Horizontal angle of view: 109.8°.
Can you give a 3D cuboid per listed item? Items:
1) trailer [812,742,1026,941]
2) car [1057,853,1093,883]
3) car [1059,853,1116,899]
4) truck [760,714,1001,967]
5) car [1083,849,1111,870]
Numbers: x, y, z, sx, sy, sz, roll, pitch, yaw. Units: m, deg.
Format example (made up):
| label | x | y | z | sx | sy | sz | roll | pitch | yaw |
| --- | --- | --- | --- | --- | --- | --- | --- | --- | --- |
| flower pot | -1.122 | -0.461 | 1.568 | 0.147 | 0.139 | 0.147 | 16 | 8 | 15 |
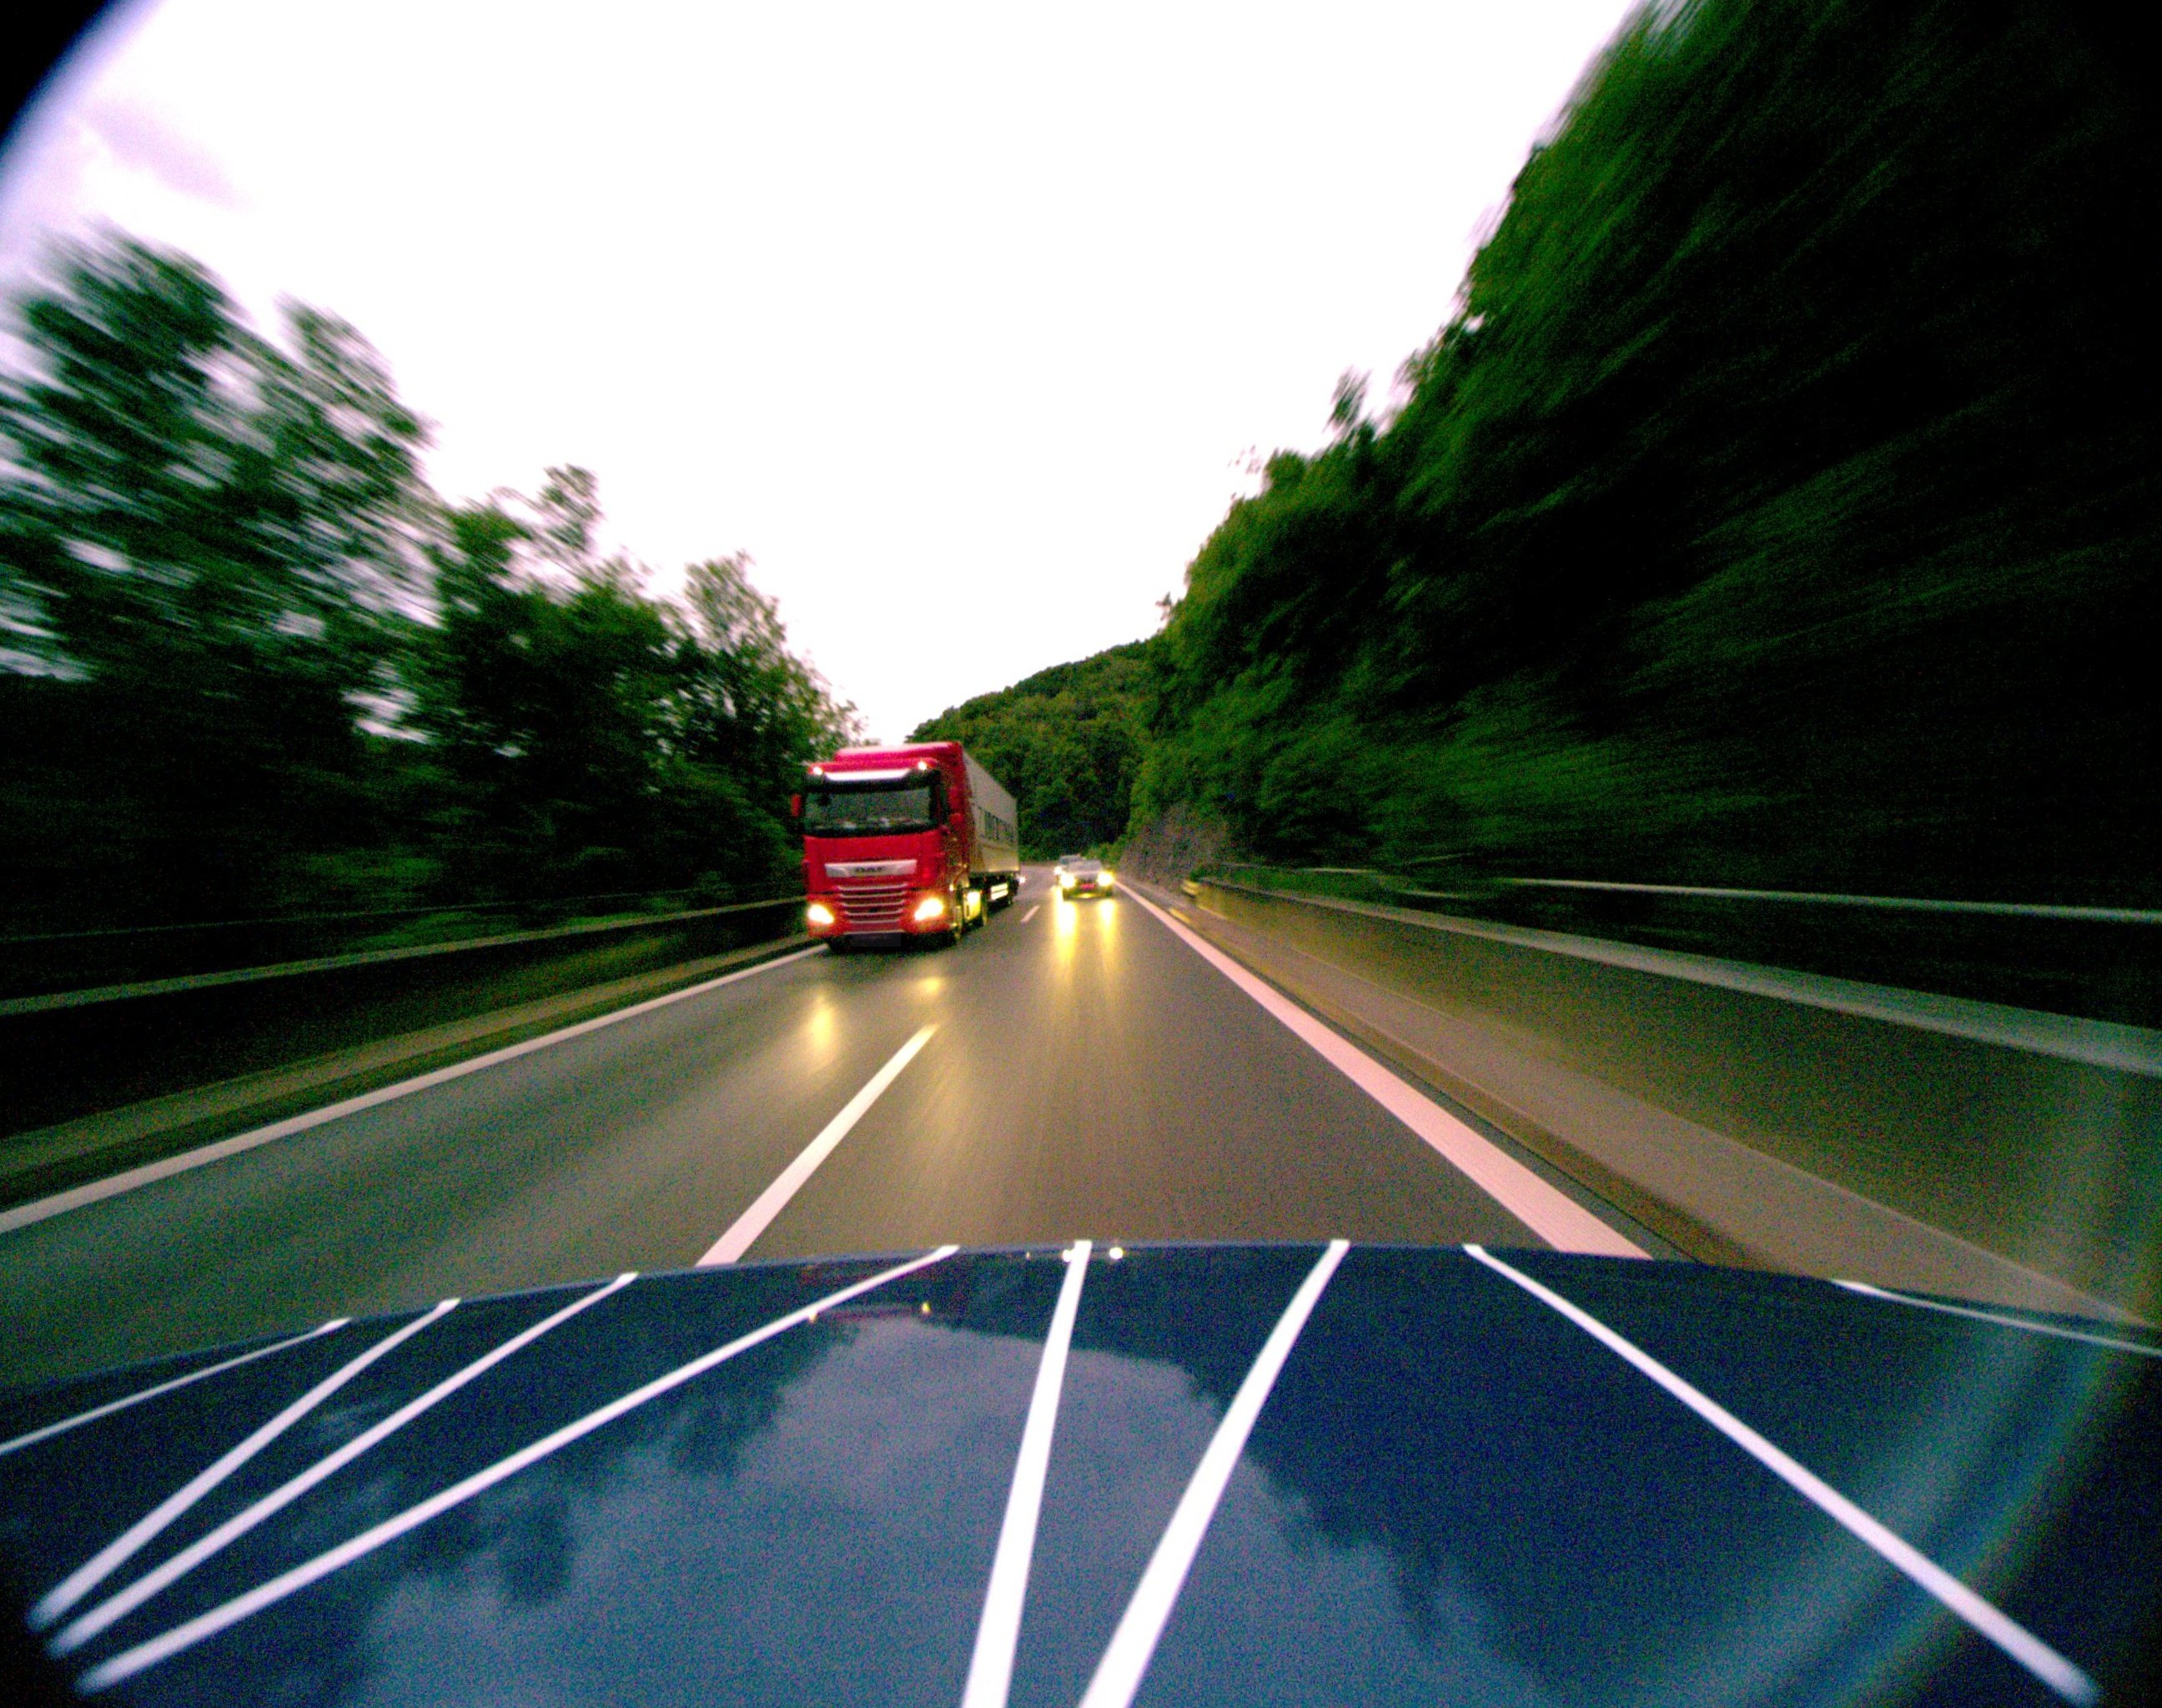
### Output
| label | x | y | z | sx | sy | sz | roll | pitch | yaw |
| --- | --- | --- | --- | --- | --- | --- | --- | --- | --- |
| trailer | -3.786 | -0.226 | 22.515 | 3.105 | 3.947 | 14.218 | -2 | 0 | 0 |
| car | -0.342 | 0.798 | 45.210 | 1.998 | 1.630 | 4.000 | -2 | 0 | 0 |
| car | 0.303 | 0.784 | 29.130 | 1.998 | 1.499 | 4.000 | -2 | 1 | 2 |
| truck | -3.740 | -0.243 | 16.148 | 3.077 | 4.121 | 6.446 | -4 | 1 | 1 |
| car | 1.224 | 0.401 | 58.533 | 1.999 | 1.499 | 4.000 | 2 | 0 | -1 |
